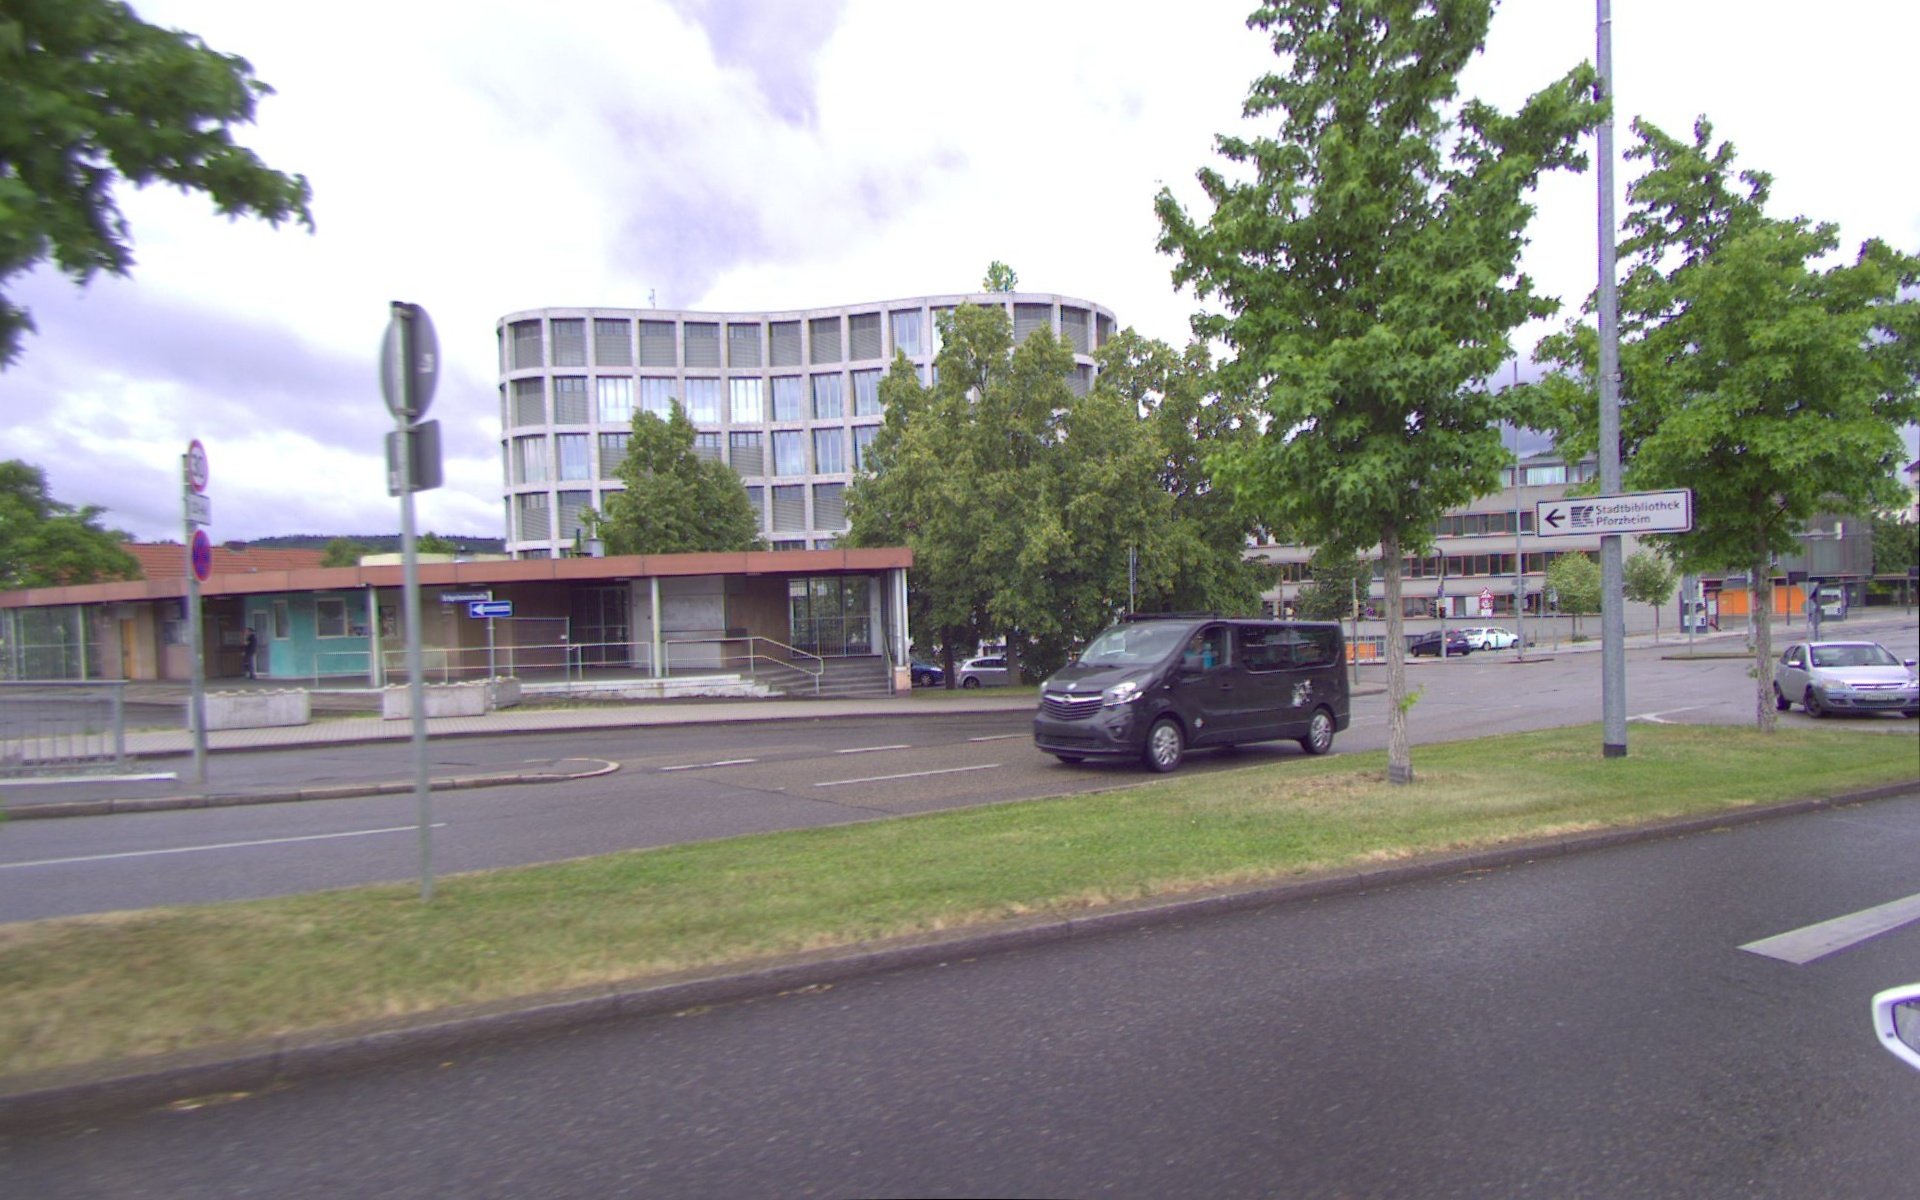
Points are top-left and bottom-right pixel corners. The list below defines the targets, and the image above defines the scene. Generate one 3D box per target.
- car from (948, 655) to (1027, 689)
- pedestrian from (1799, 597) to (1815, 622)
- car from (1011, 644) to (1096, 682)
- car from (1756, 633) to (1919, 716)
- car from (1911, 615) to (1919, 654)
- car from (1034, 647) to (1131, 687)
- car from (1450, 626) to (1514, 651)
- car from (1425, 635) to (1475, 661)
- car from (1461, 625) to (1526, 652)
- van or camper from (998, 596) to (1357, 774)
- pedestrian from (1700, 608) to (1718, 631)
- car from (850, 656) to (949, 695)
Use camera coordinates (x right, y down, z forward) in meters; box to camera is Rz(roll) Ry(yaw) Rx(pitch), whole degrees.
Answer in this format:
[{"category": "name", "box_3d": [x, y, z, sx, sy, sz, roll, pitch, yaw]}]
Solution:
[{"category": "car", "box_3d": [1.231, 3.162, 44.212, 3.250, 1.313, 1.499, -2, -1, 12]}, {"category": "pedestrian", "box_3d": [58.330, 0.642, 69.174, 0.752, 1.706, 0.473, -2, -1, -23]}, {"category": "car", "box_3d": [4.462, 2.989, 47.577, 3.761, 1.588, 1.729, -3, -1, 13]}, {"category": "car", "box_3d": [17.237, 1.424, 19.781, 1.607, 1.467, 3.872, -3, -3, 26]}, {"category": "car", "box_3d": [44.934, 1.439, 45.293, 4.806, 1.684, 1.897, -3, 0, -33]}, {"category": "car", "box_3d": [5.328, 2.894, 43.473, 3.974, 1.528, 1.729, -2, -1, 12]}, {"category": "car", "box_3d": [34.651, 2.550, 66.671, 3.522, 1.515, 1.628, -2, -1, -15]}, {"category": "car", "box_3d": [29.493, 2.875, 60.569, 1.453, 1.368, 3.584, -2, -1, 5]}, {"category": "car", "box_3d": [34.405, 2.481, 64.822, 3.522, 1.515, 1.628, -2, -1, -15]}, {"category": "van or camper", "box_3d": [3.247, 1.152, 14.402, 5.238, 2.099, 2.200, 2, -4, -38]}, {"category": "pedestrian", "box_3d": [47.280, 1.251, 63.409, 0.713, 1.410, 0.675, -2, -1, -31]}, {"category": "car", "box_3d": [-2.885, 3.629, 48.350, 4.488, 1.588, 1.729, -2, -1, 6]}]
